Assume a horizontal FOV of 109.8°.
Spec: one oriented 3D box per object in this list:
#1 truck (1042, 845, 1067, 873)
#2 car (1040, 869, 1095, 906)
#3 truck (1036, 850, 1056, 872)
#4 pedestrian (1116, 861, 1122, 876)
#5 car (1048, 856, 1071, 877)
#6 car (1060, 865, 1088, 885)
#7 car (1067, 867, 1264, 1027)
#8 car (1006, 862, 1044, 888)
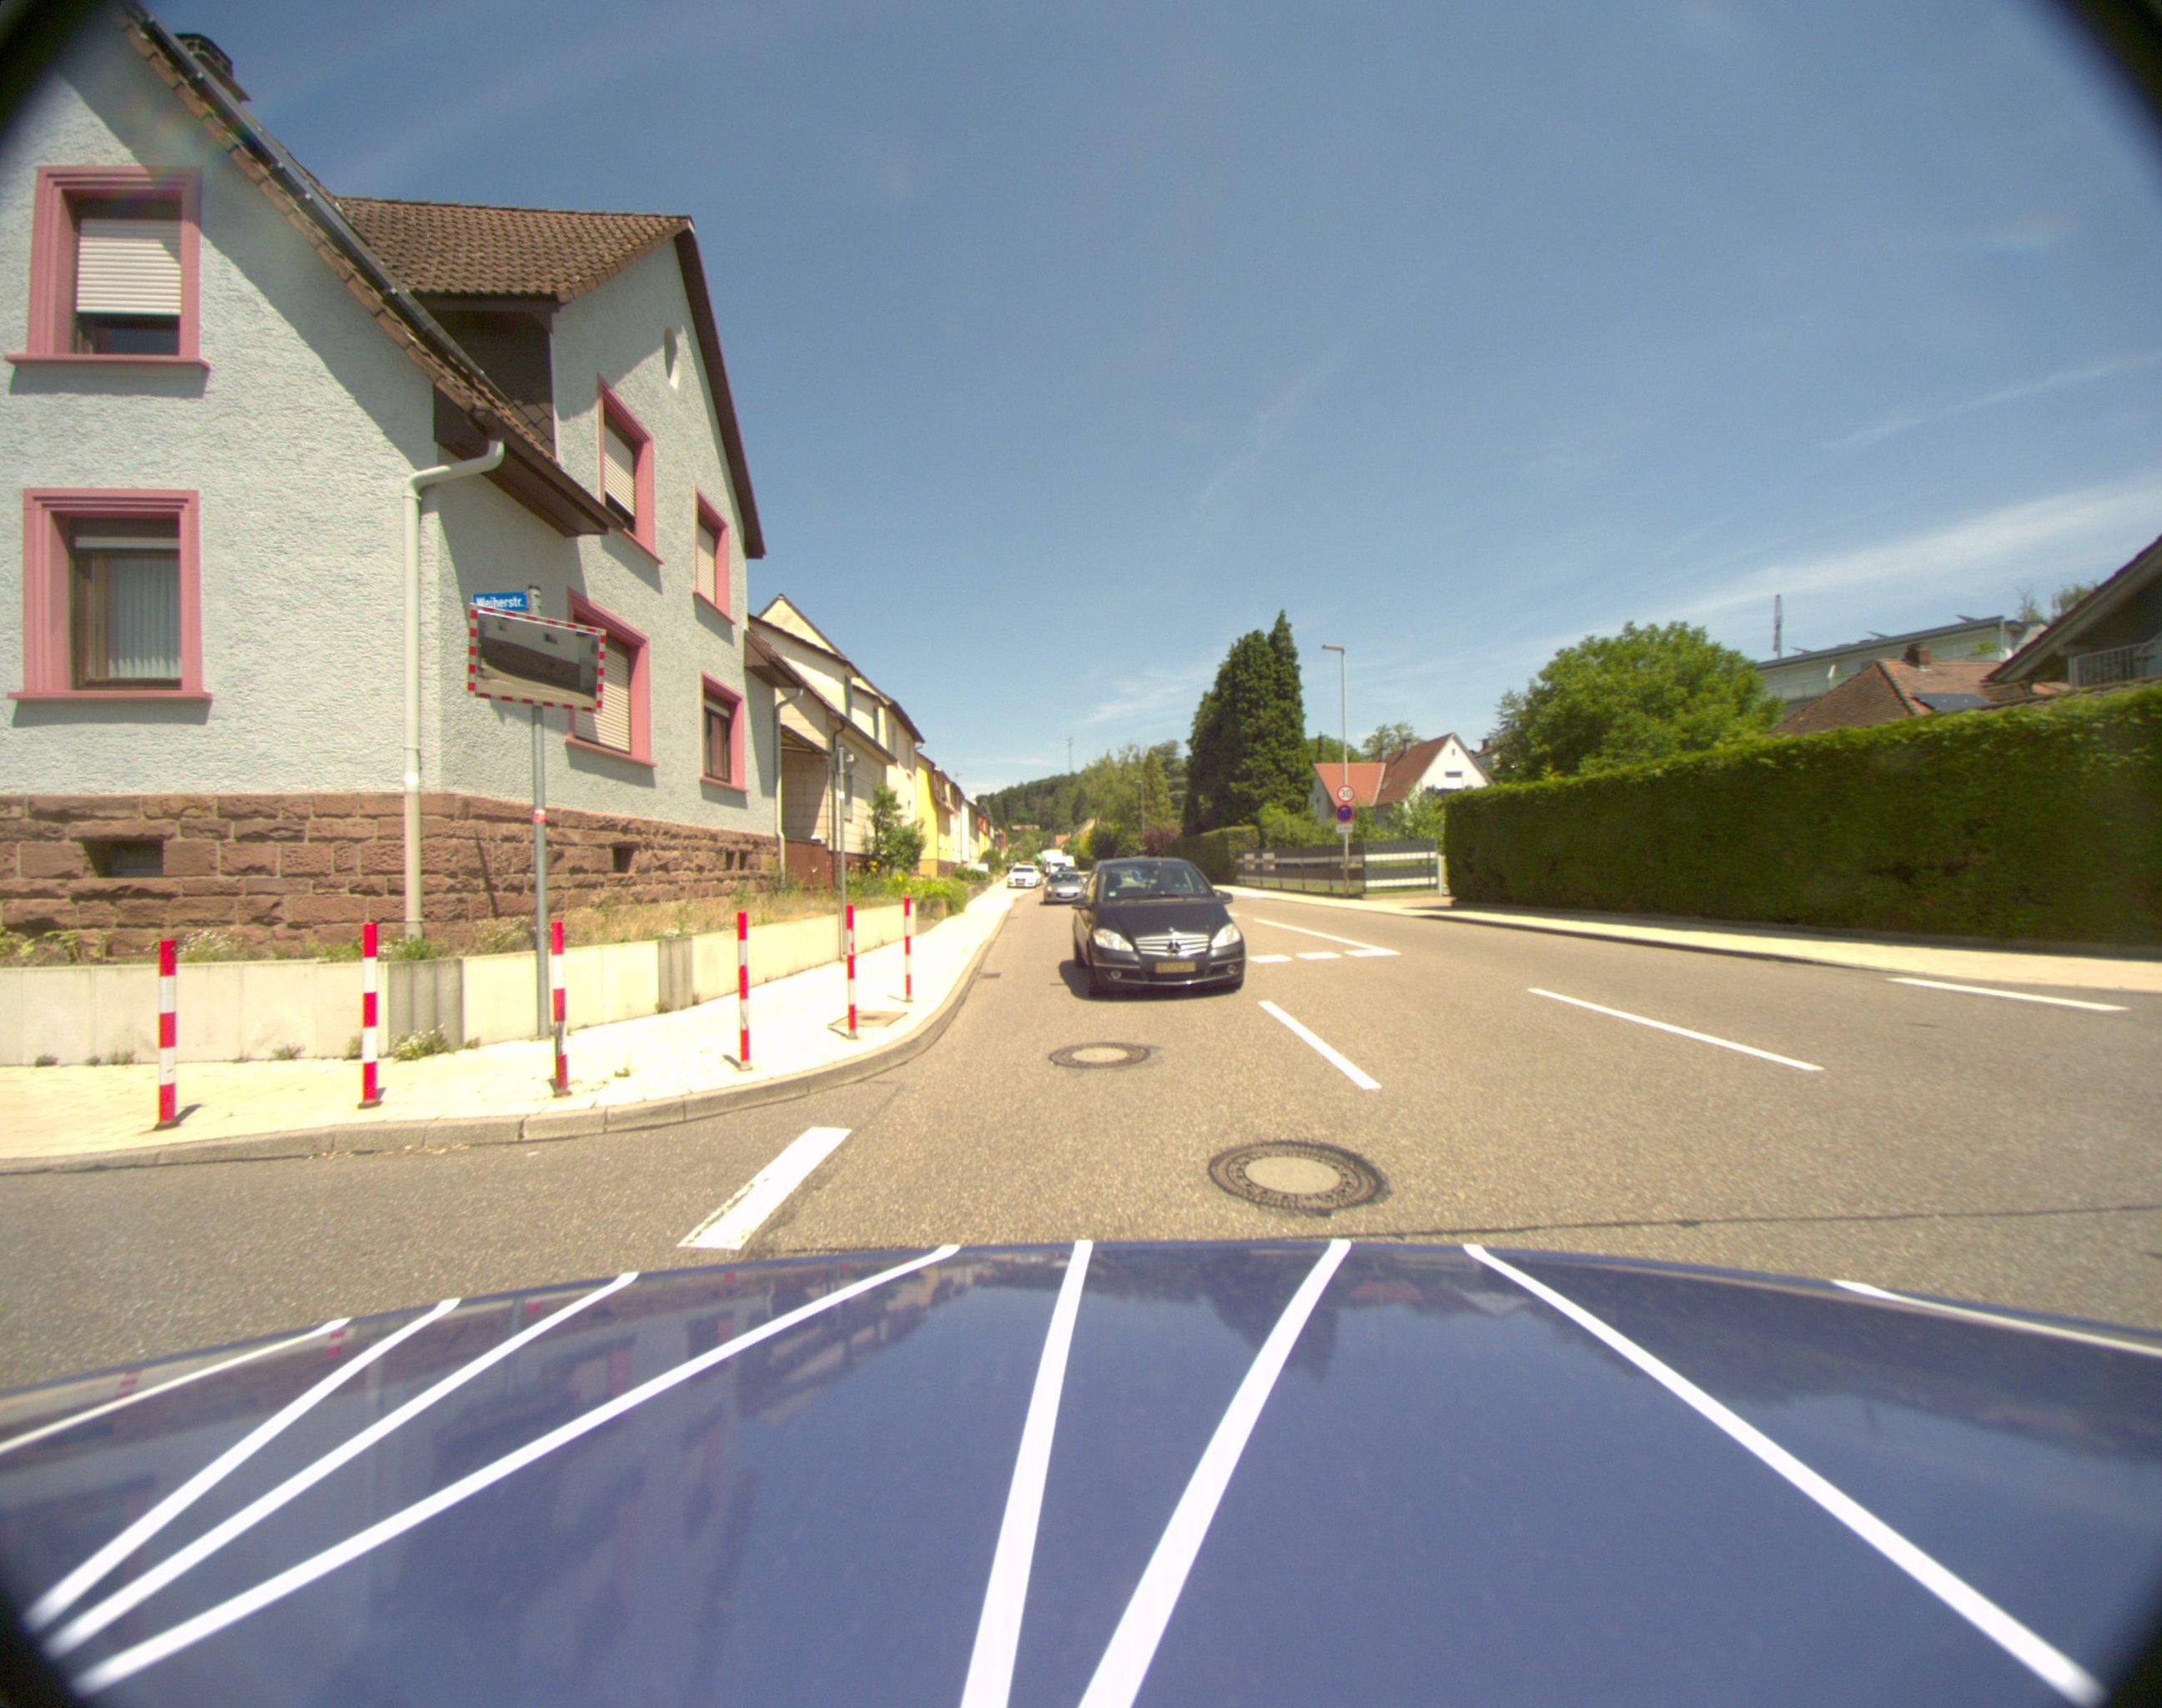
[{"bbox_3d":[-3.575,0.662,102.847,3.150,3.466,8.269,-2,0,-3],"label":"truck"},{"bbox_3d":[-0.610,1.300,30.721,1.911,1.296,4.155,-2,0,-5],"label":"car"},{"bbox_3d":[-5.818,1.116,126.709,3.150,3.466,8.270,-2,-1,-3],"label":"truck"},{"bbox_3d":[3.944,1.514,78.993,0.555,1.477,0.483,-3,0,1],"label":"pedestrian"},{"bbox_3d":[-2.308,1.316,79.882,1.999,2.002,4.546,-3,0,-6],"label":"car"},{"bbox_3d":[-0.580,1.670,60.668,1.865,1.441,3.999,-3,0,-5],"label":"car"},{"bbox_3d":[0.844,0.991,9.960,1.868,1.579,4.156,-2,-1,-3],"label":"car"},{"bbox_3d":[-3.535,1.317,48.464,1.998,1.510,4.144,3,0,1],"label":"car"}]
